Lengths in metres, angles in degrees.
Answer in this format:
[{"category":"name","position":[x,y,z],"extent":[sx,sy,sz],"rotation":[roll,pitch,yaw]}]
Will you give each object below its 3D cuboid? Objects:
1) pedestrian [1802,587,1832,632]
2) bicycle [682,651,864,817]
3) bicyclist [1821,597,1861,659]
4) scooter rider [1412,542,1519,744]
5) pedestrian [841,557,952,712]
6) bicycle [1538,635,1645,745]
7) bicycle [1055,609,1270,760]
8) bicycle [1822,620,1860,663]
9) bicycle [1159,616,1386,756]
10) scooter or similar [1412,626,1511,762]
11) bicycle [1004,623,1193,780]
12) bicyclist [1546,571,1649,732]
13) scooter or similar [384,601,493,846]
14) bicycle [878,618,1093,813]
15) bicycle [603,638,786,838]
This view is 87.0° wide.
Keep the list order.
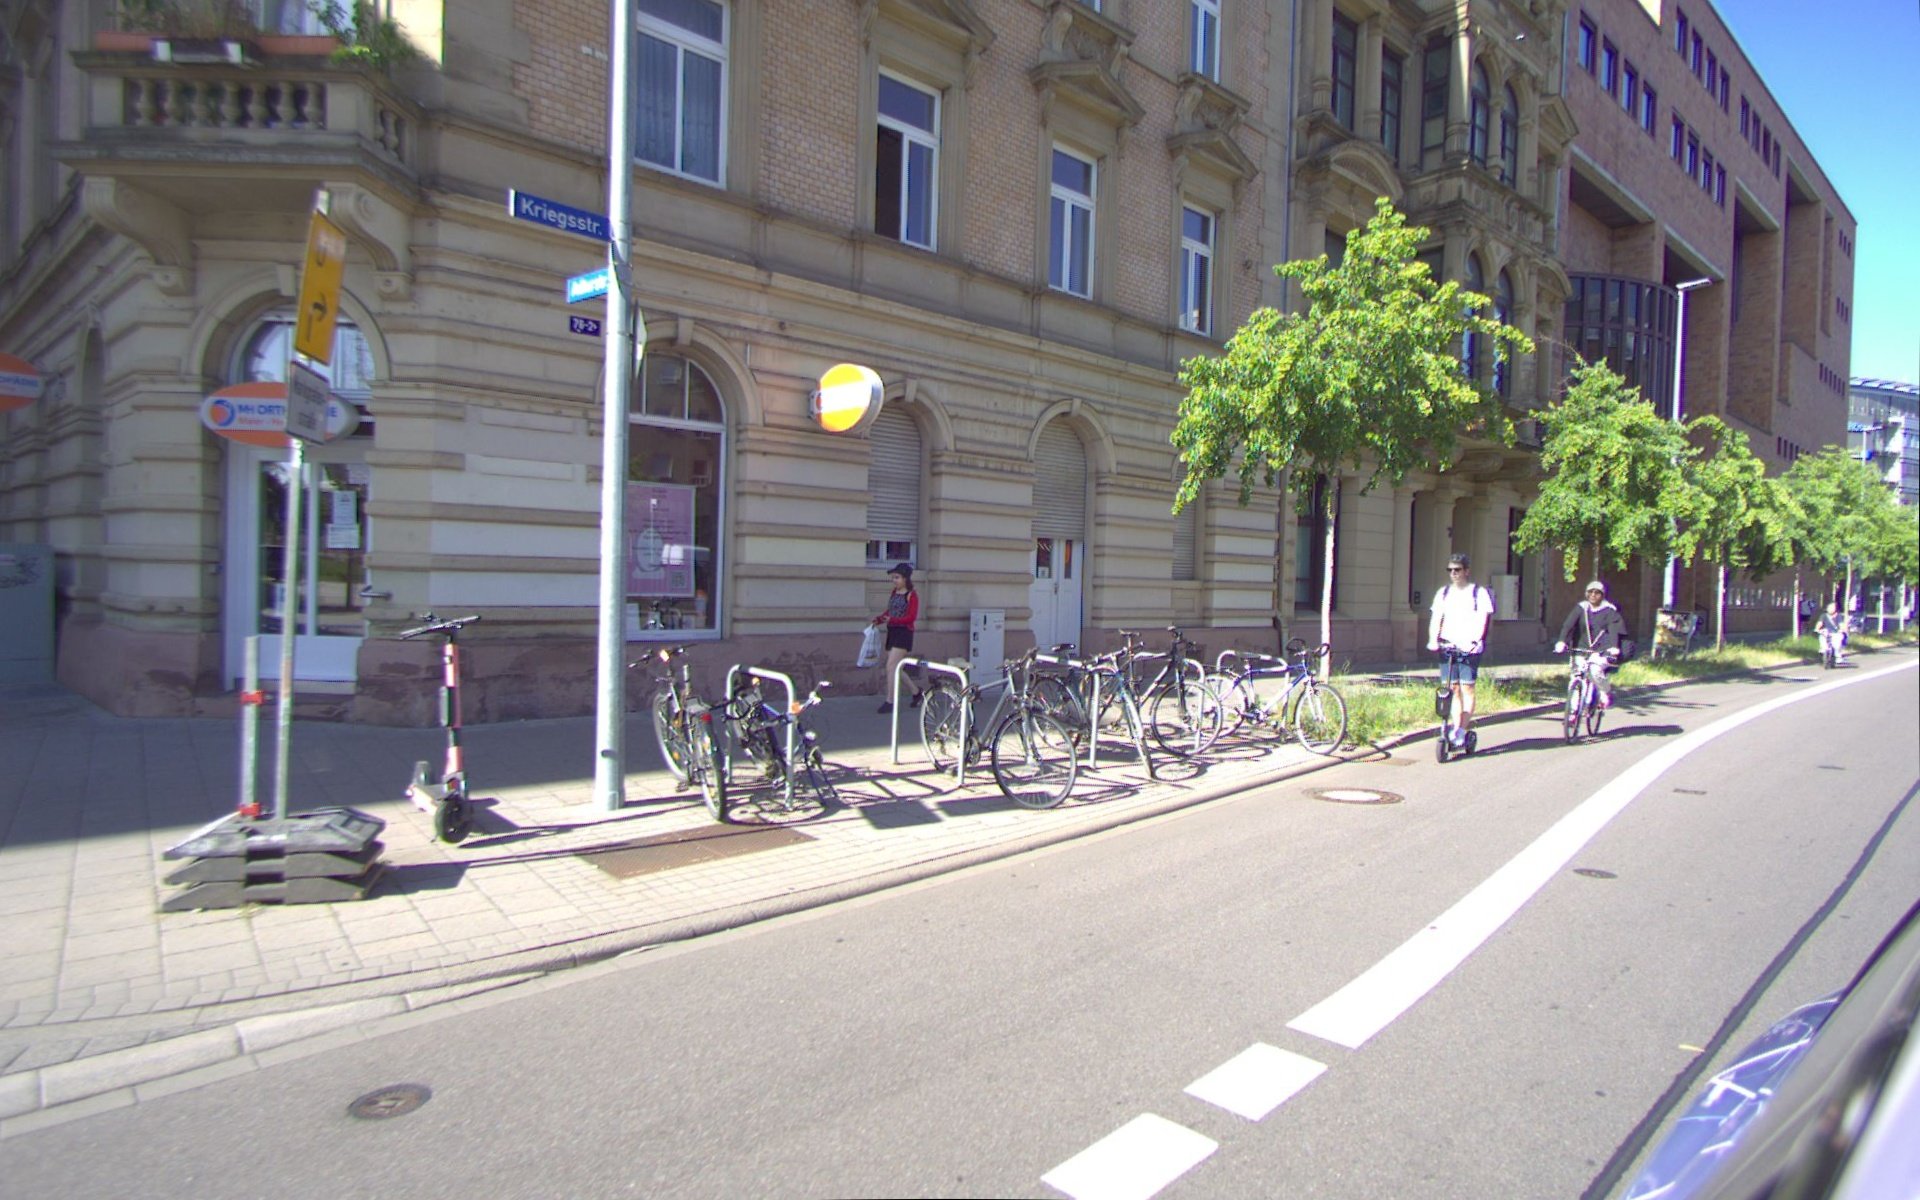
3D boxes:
[{"category":"pedestrian","position":[37.003,0.407,43.707],"extent":[1.087,1.906,0.789],"rotation":[0,2,-41]},{"category":"bicycle","position":[-1.333,0.851,6.959],"extent":[0.595,0.831,1.677],"rotation":[1,2,-34]},{"category":"bicyclist","position":[22.548,0.694,25.909],"extent":[0.893,1.557,0.658],"rotation":[1,-1,-42]},{"category":"scooter rider","position":[5.006,0.402,10.012],"extent":[0.885,1.884,0.667],"rotation":[1,-1,-41]},{"category":"pedestrian","position":[-0.680,0.339,10.816],"extent":[0.911,1.561,0.710],"rotation":[0,2,-41]},{"category":"bicycle","position":[7.185,0.972,11.481],"extent":[1.761,1.106,0.558],"rotation":[0,0,-42]},{"category":"bicycle","position":[1.890,0.742,9.760],"extent":[0.697,1.142,2.001],"rotation":[1,4,-39]},{"category":"bicycle","position":[22.528,1.054,25.871],"extent":[1.481,1.040,0.558],"rotation":[0,0,-42]},{"category":"bicycle","position":[3.157,0.817,10.347],"extent":[1.993,1.105,0.835],"rotation":[6,4,40]},{"category":"scooter or similar","position":[4.975,0.888,10.018],"extent":[1.150,1.242,0.491],"rotation":[0,-1,-42]},{"category":"bicycle","position":[1.137,0.807,8.652],"extent":[0.595,1.058,1.605],"rotation":[1,4,-37]},{"category":"bicyclist","position":[7.256,0.556,11.523],"extent":[0.853,1.733,0.780],"rotation":[1,-1,-41]},{"category":"scooter or similar","position":[-2.996,0.640,5.773],"extent":[0.411,1.204,1.116],"rotation":[1,2,-33]},{"category":"bicycle","position":[0.134,0.772,7.472],"extent":[0.595,1.114,1.729],"rotation":[1,4,-37]},{"category":"bicycle","position":[-1.734,0.792,6.420],"extent":[0.595,0.955,1.677],"rotation":[1,2,-33]}]
